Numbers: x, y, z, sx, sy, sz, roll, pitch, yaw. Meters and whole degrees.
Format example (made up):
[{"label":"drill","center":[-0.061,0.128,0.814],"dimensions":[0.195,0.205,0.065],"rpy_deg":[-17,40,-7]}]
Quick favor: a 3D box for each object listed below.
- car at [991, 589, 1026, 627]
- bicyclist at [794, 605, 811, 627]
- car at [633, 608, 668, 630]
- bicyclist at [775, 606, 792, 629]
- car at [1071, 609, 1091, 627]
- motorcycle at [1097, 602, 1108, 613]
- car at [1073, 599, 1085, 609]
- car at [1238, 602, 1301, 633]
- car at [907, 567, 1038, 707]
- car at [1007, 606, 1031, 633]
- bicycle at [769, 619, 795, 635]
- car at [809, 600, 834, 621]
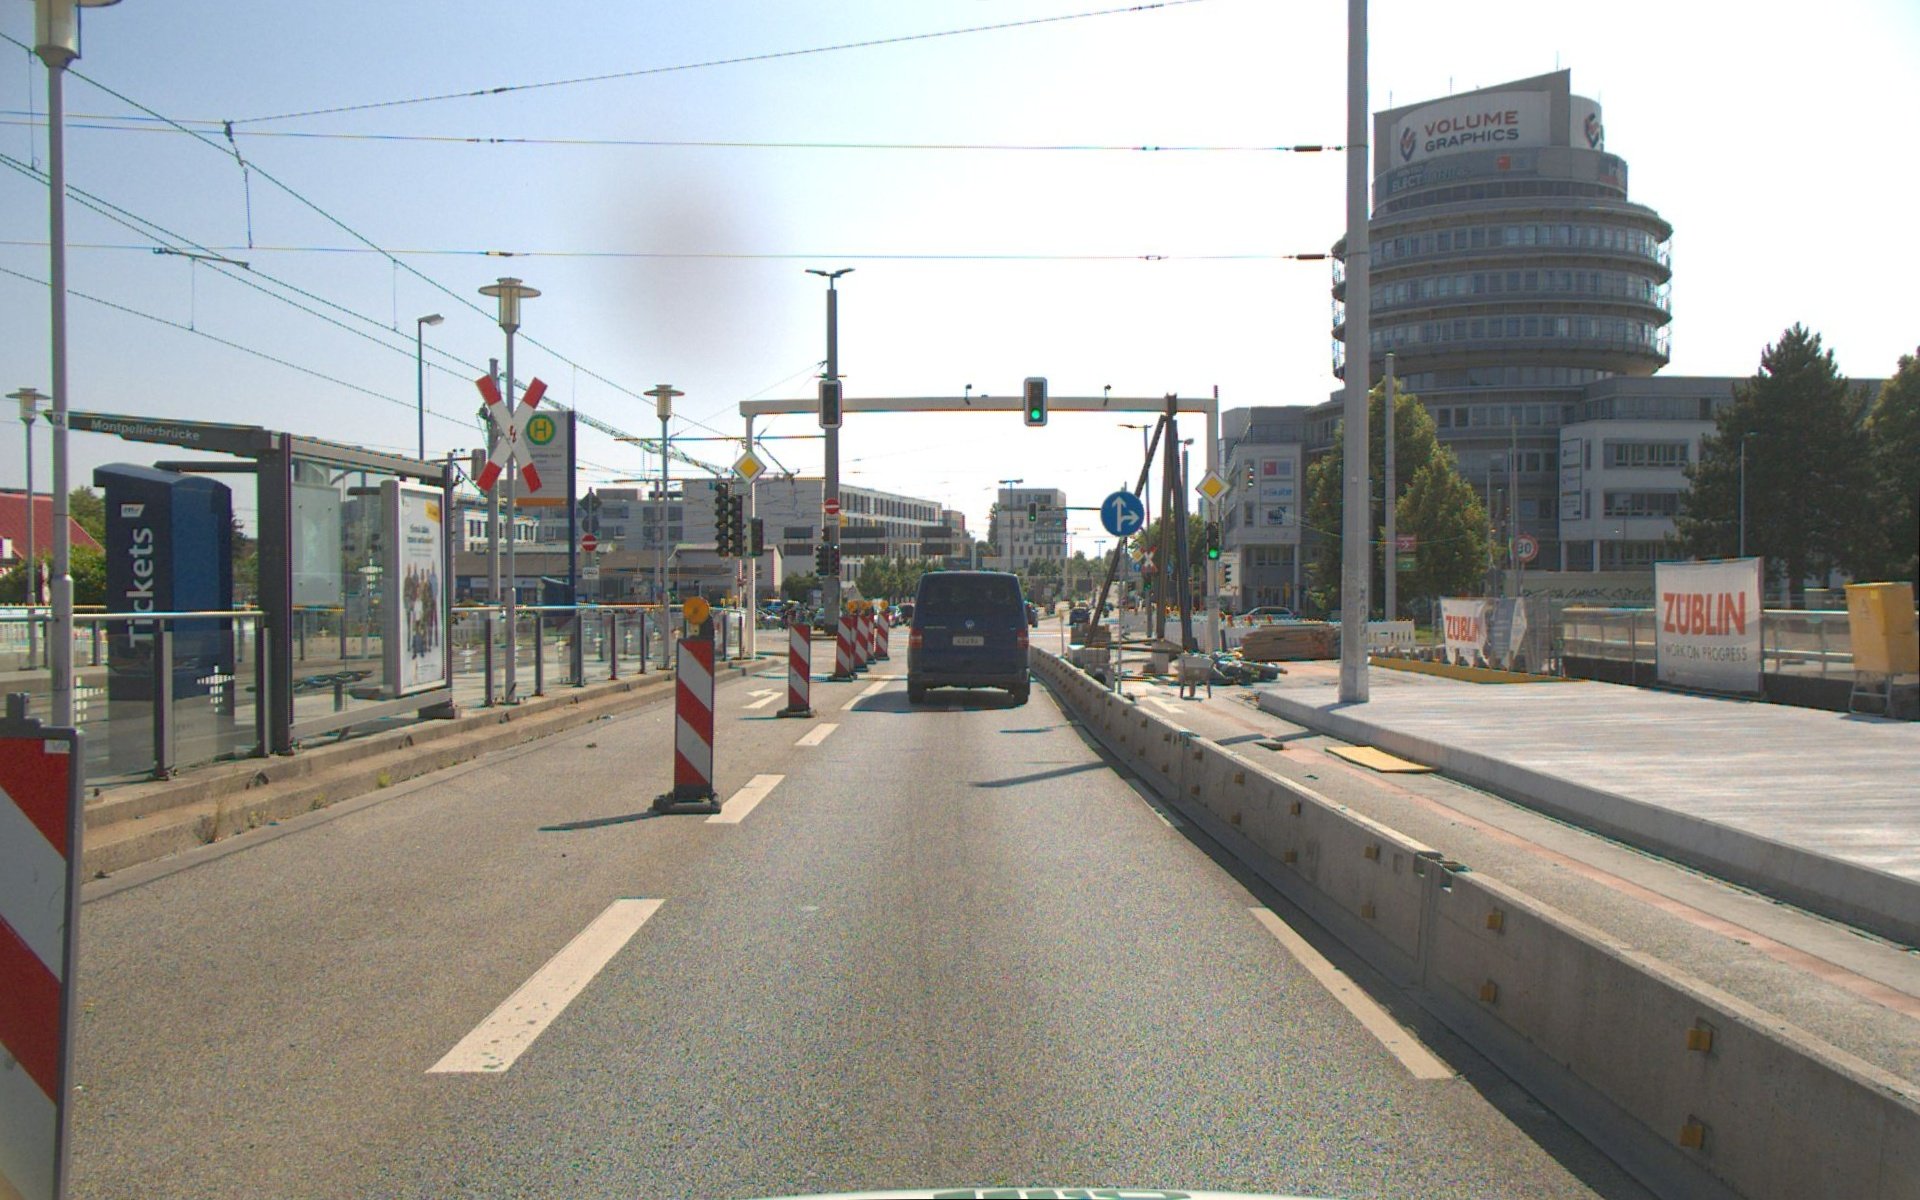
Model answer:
[{"label":"car","center":[2.393,0.374,81.754],"dimensions":[1.611,1.758,4.001],"rpy_deg":[2,1,2]},{"label":"bicyclist","center":[-11.639,1.179,122.061],"dimensions":[0.857,1.606,0.970],"rpy_deg":[4,0,14]},{"label":"car","center":[-22.620,1.381,121.039],"dimensions":[1.741,1.565,4.000],"rpy_deg":[0,0,0]},{"label":"bicyclist","center":[-12.656,1.271,118.652],"dimensions":[0.857,1.606,0.970],"rpy_deg":[4,0,14]},{"label":"car","center":[10.319,1.496,141.281],"dimensions":[1.707,1.501,3.887],"rpy_deg":[0,0,4]},{"label":"motorcycle","center":[16.084,0.832,186.567],"dimensions":[1.137,1.264,3.010],"rpy_deg":[0,0,7]},{"label":"car","center":[18.383,0.614,254.995],"dimensions":[1.516,1.363,3.015],"rpy_deg":[1,0,-2]},{"label":"car","center":[19.997,1.119,106.956],"dimensions":[3.735,1.829,1.681],"rpy_deg":[1,1,0]},{"label":"car","center":[0.170,0.501,25.976],"dimensions":[1.849,1.968,4.000],"rpy_deg":[1,1,0]},{"label":"car","center":[4.060,1.342,113.767],"dimensions":[1.611,1.758,3.718],"rpy_deg":[2,1,2]},{"label":"bicycle","center":[-12.746,1.941,118.477],"dimensions":[0.863,1.088,2.809],"rpy_deg":[4,0,14]},{"label":"car","center":[-10.714,0.803,128.070],"dimensions":[1.712,1.512,3.999],"rpy_deg":[0,0,-2]}]
